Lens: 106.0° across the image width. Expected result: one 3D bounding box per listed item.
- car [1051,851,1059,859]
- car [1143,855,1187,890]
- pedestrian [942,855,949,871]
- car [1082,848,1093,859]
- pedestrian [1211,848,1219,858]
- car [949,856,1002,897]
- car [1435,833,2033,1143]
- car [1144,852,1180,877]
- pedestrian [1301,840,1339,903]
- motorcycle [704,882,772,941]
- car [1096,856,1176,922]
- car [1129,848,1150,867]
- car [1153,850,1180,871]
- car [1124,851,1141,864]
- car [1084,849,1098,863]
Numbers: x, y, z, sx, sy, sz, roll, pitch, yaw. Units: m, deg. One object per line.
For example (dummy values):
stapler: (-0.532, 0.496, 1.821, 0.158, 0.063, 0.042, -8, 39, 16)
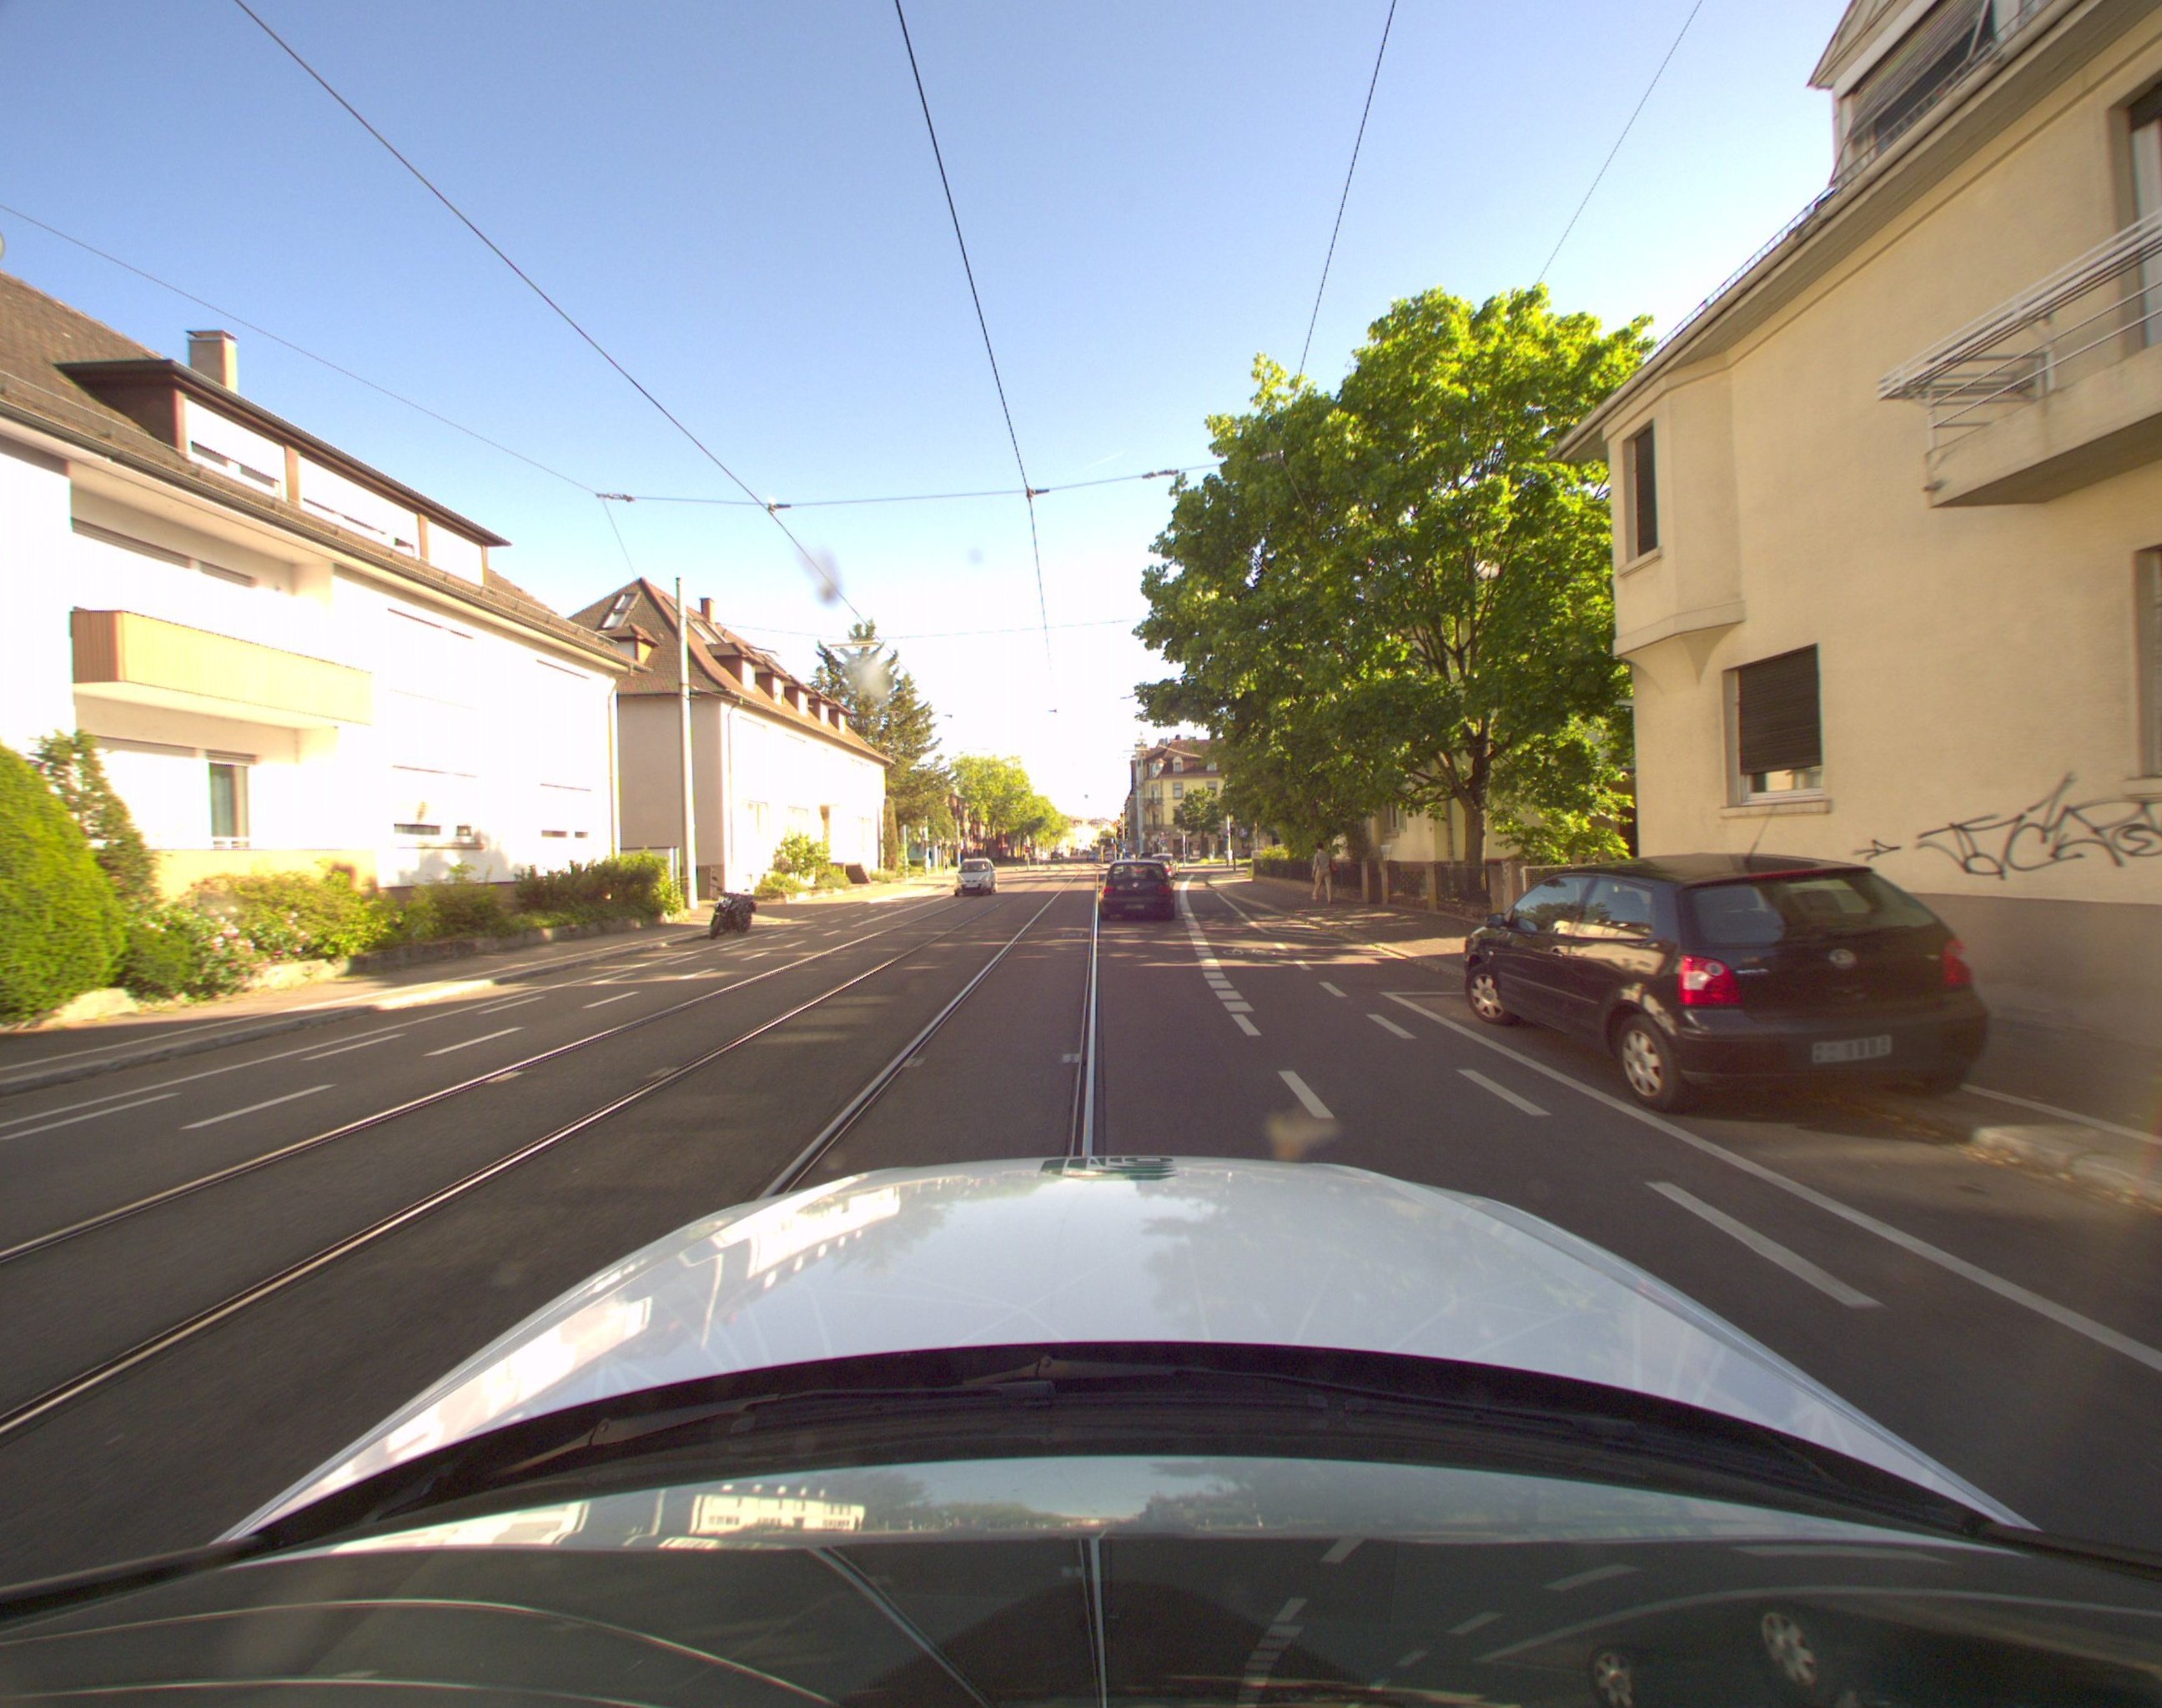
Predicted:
car: (-6.526, 0.311, 203.576, 1.967, 1.815, 4.292, -2, 0, -3)
car: (3.709, 0.785, 36.411, 1.628, 1.372, 3.759, -2, 0, 2)
pedestrian: (-13.792, 0.913, 82.933, 0.611, 1.689, 0.729, 1, 0, -17)
car: (1.166, -0.028, 146.493, 1.781, 1.859, 3.999, -2, 0, 0)
pedestrian: (17.977, -0.143, 109.320, 0.976, 1.187, 0.743, -2, 0, 0)
car: (-4.229, 0.865, 33.126, 1.569, 1.477, 3.442, -3, 0, 1)
car: (4.187, 0.714, 6.113, 1.657, 1.564, 3.776, -2, 0, 5)
car: (5.017, 0.622, 50.117, 1.728, 1.441, 3.822, -2, 0, 12)
pedestrian: (6.612, 0.472, 22.578, 0.715, 1.688, 0.870, -3, 0, 0)
motorcycle: (-7.846, 1.289, 18.736, 0.534, 1.162, 2.172, -4, 0, 2)
car: (1.379, 0.768, 19.590, 1.707, 1.402, 4.012, 0, 0, 5)
car: (5.450, 0.340, 75.948, 1.565, 1.312, 3.496, -2, -6, -1)
car: (6.392, 0.463, 61.033, 1.565, 1.311, 3.646, -2, 2, -1)
car: (6.007, 0.422, 95.156, 1.676, 1.453, 3.378, -2, 0, -1)
car: (1.351, 0.212, 111.692, 1.781, 1.860, 3.999, 1, 0, 0)
